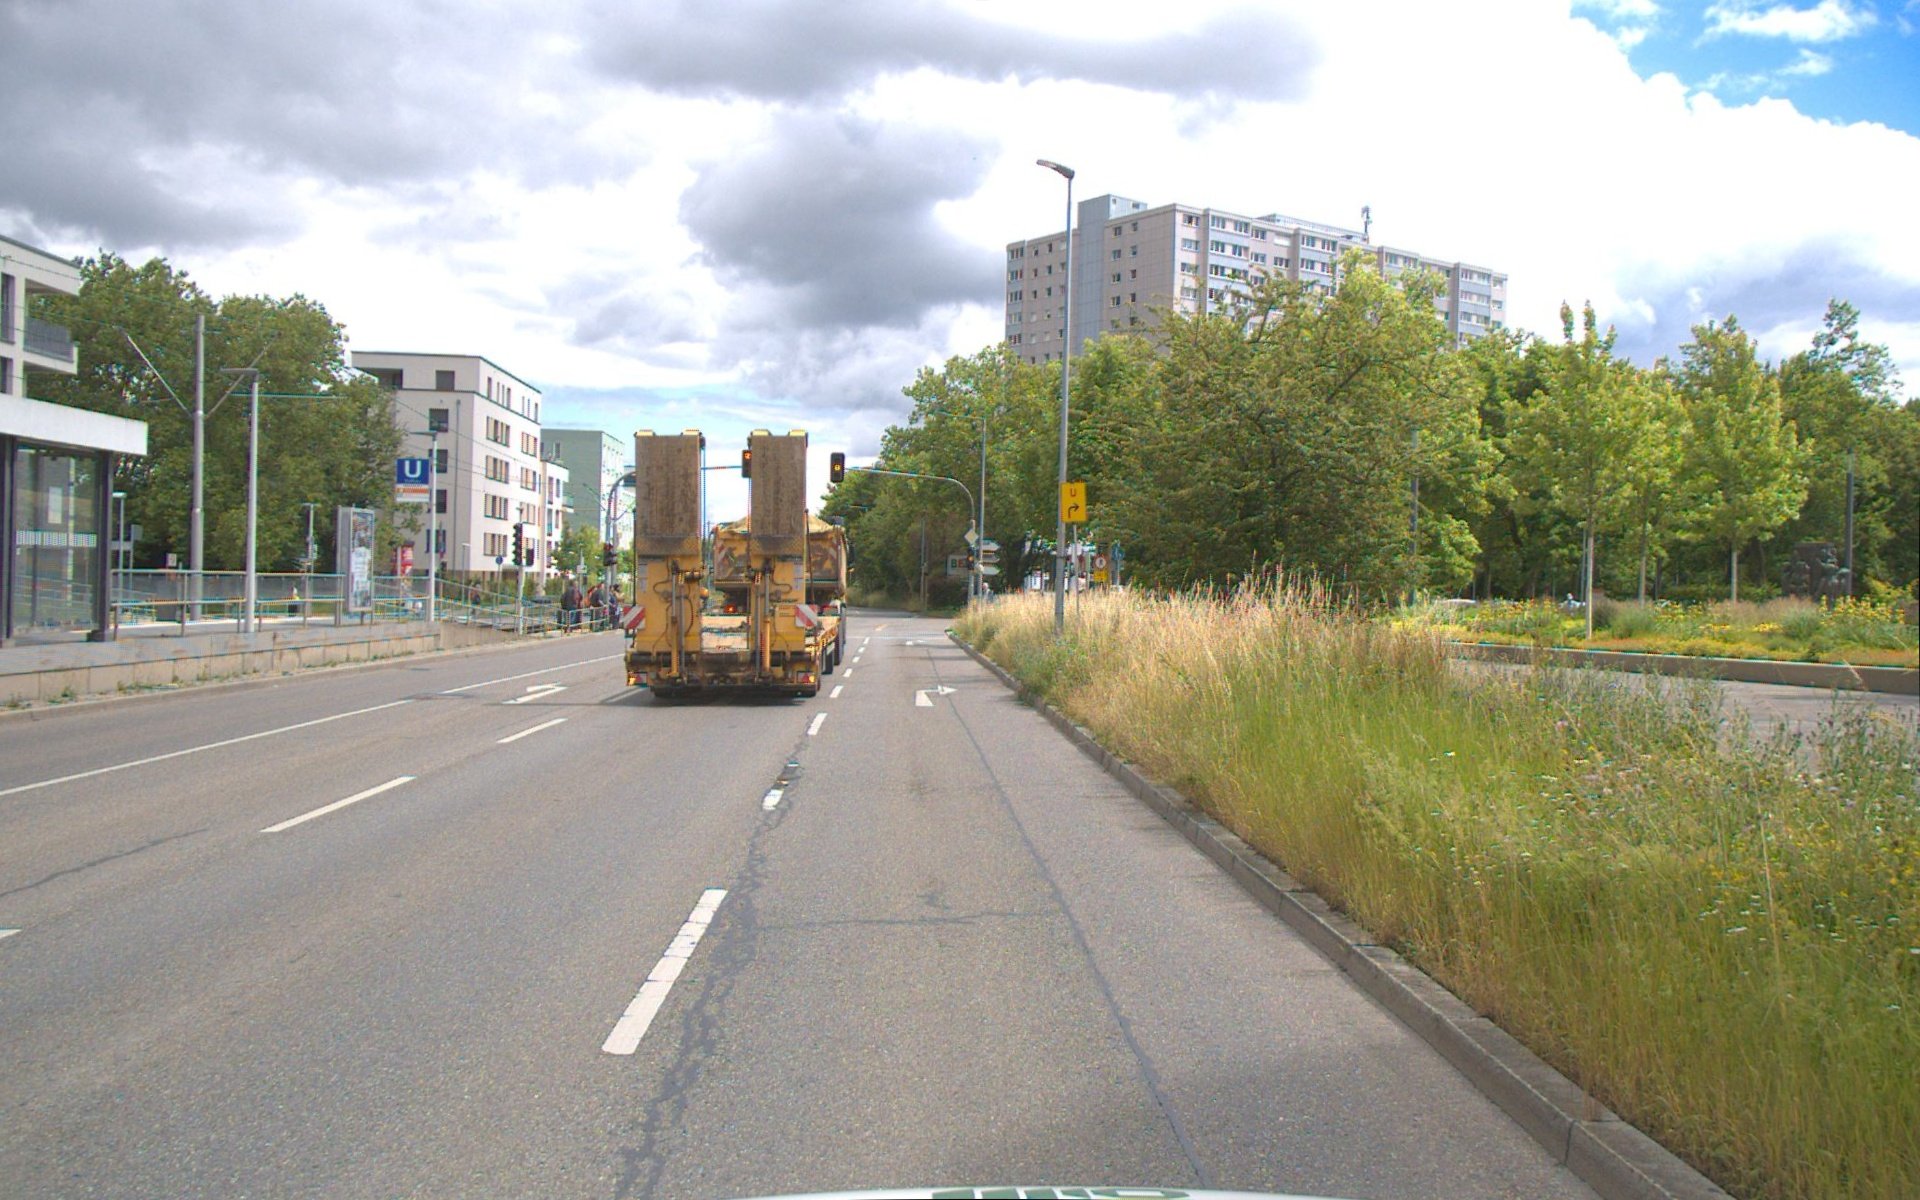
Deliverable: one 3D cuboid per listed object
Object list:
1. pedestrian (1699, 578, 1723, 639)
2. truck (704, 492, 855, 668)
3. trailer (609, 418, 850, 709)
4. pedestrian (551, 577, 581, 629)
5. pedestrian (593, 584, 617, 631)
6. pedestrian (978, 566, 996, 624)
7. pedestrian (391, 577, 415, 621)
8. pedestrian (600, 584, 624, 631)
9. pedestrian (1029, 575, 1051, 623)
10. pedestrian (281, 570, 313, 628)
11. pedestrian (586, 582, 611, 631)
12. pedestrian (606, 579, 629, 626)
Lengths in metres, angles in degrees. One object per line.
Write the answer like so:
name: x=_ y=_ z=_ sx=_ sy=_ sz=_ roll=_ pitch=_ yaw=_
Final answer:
pedestrian: x=24.618 y=0.273 z=54.193 sx=0.564 sy=1.985 sz=0.405 roll=1 pitch=0 yaw=-2
truck: x=-3.778 y=-0.432 z=36.398 sx=2.698 sy=3.371 sz=8.348 roll=1 pitch=0 yaw=-3
trailer: x=-3.294 y=-0.510 z=26.568 sx=2.674 sy=3.621 sz=11.248 roll=1 pitch=0 yaw=-2
pedestrian: x=-13.203 y=0.096 z=55.451 sx=0.804 sy=1.698 sz=0.683 roll=1 pitch=0 yaw=-2
pedestrian: x=-12.414 y=0.260 z=57.786 sx=0.668 sy=1.630 sz=0.822 roll=1 pitch=0 yaw=-3
pedestrian: x=0.965 y=-0.181 z=59.283 sx=0.551 sy=2.049 sz=0.490 roll=1 pitch=-1 yaw=-12
pedestrian: x=-28.022 y=-0.057 z=83.236 sx=0.897 sy=2.171 sz=0.934 roll=1 pitch=0 yaw=-3
pedestrian: x=-12.465 y=0.265 z=59.267 sx=0.668 sy=1.630 sz=0.822 roll=1 pitch=0 yaw=-3
pedestrian: x=2.799 y=-0.029 z=57.811 sx=0.614 sy=1.682 sz=0.562 roll=1 pitch=-1 yaw=24
pedestrian: x=-25.960 y=-0.042 z=64.774 sx=0.897 sy=2.243 sz=0.882 roll=1 pitch=0 yaw=-3
pedestrian: x=-12.387 y=0.218 z=56.654 sx=0.668 sy=1.630 sz=0.822 roll=1 pitch=0 yaw=-3
pedestrian: x=-12.437 y=0.087 z=60.150 sx=0.668 sy=1.699 sz=0.822 roll=1 pitch=0 yaw=-3
